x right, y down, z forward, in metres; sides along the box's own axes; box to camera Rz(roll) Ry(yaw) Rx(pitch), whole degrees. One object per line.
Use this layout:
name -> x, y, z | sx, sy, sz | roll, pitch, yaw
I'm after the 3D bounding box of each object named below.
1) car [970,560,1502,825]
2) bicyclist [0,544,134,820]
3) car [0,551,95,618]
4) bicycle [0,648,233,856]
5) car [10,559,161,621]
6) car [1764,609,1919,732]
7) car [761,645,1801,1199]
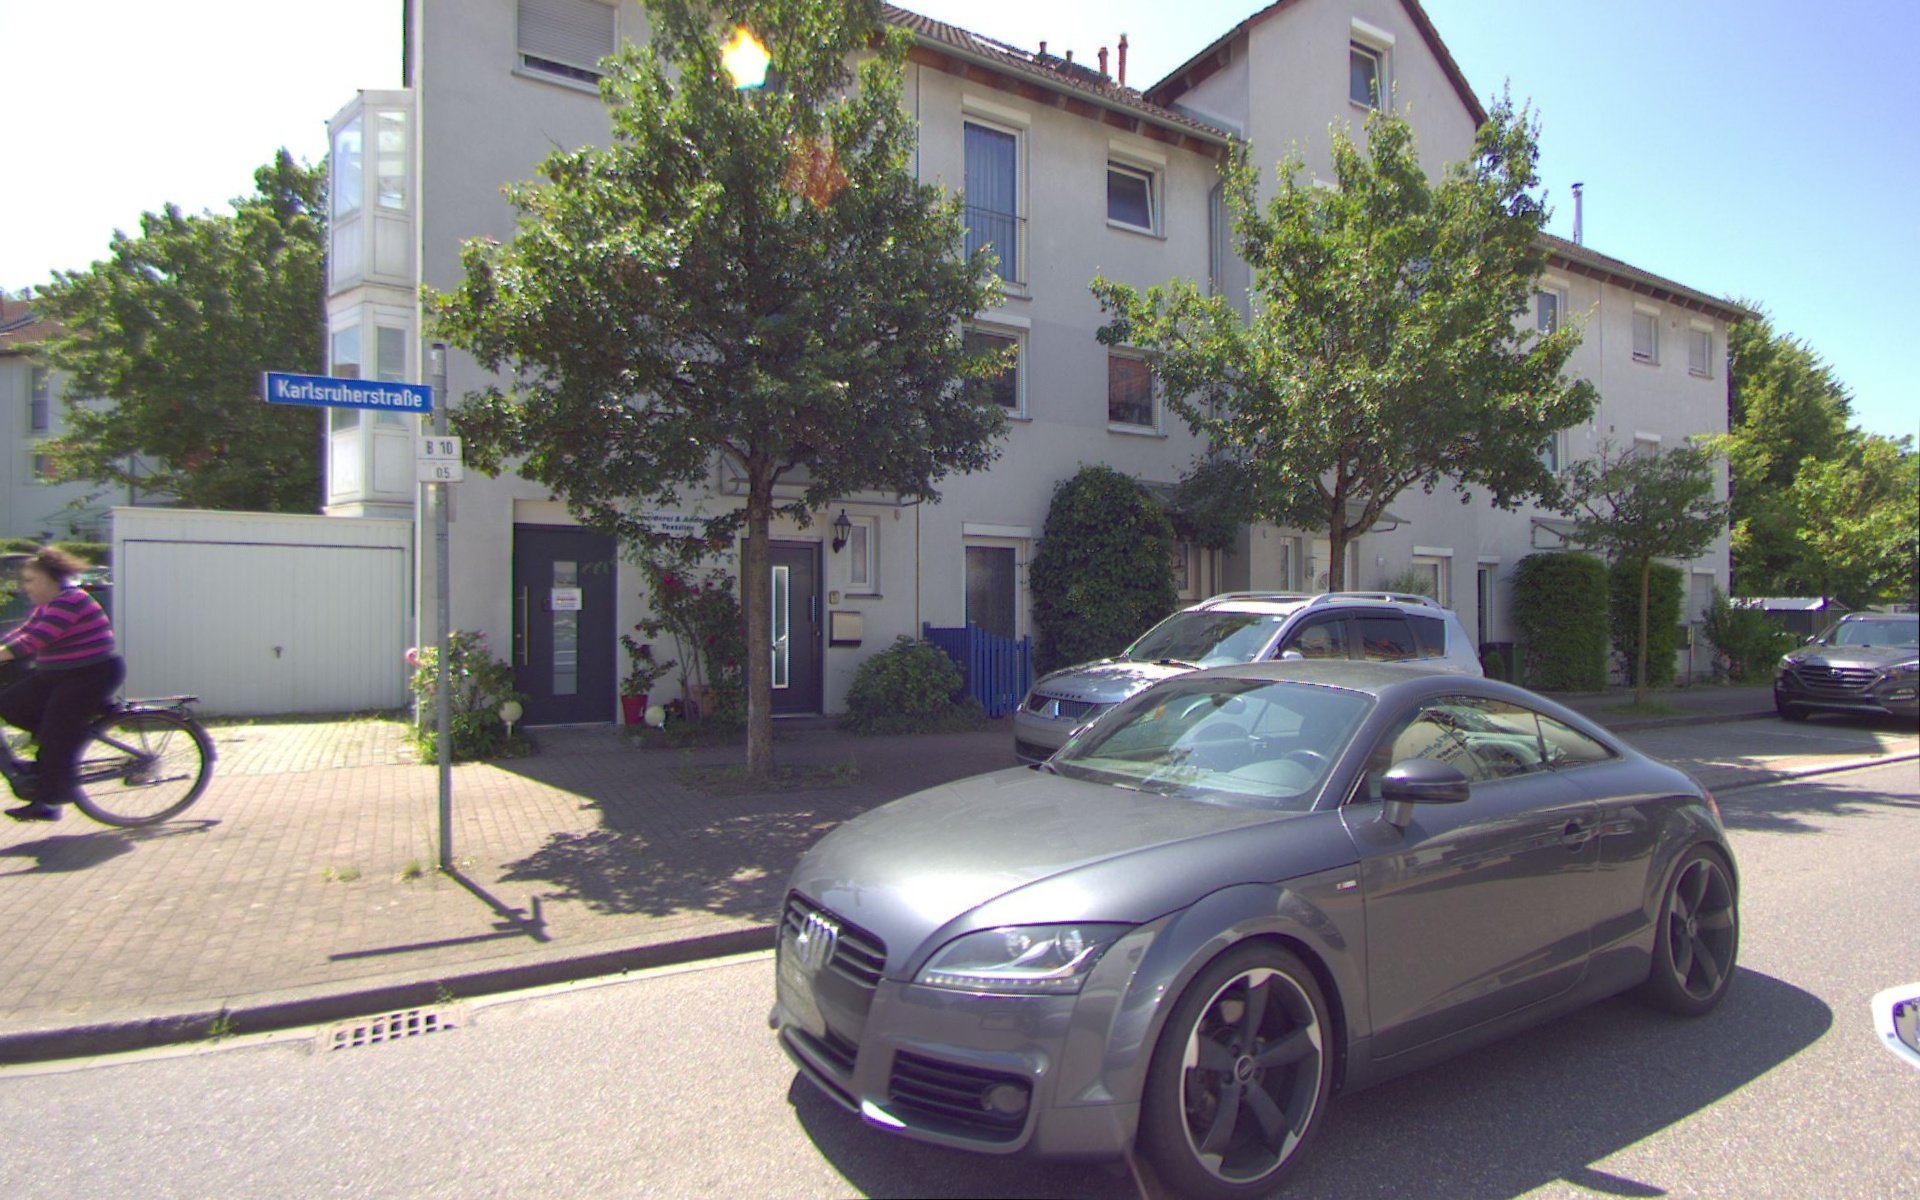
car -> 2.422, 0.624, 8.392 | 4.474, 1.709, 1.697 | 1, 0, -31
bicyclist -> -5.406, 0.441, 5.821 | 0.903, 1.514, 0.652 | 0, 2, -44
car -> -24.757, -0.443, 26.148 | 1.720, 1.645, 3.988 | 2, 1, -14
bicycle -> -5.472, 0.860, 5.782 | 2.013, 1.070, 0.664 | 1, 2, -44
car -> -22.619, -0.273, 26.154 | 1.668, 1.447, 3.980 | 1, 1, -21
car -> 14.149, 0.983, 15.267 | 3.949, 1.641, 1.684 | 1, 0, -30
car -> 1.345, 0.905, 3.878 | 3.823, 1.388, 1.698 | 1, -3, -30
